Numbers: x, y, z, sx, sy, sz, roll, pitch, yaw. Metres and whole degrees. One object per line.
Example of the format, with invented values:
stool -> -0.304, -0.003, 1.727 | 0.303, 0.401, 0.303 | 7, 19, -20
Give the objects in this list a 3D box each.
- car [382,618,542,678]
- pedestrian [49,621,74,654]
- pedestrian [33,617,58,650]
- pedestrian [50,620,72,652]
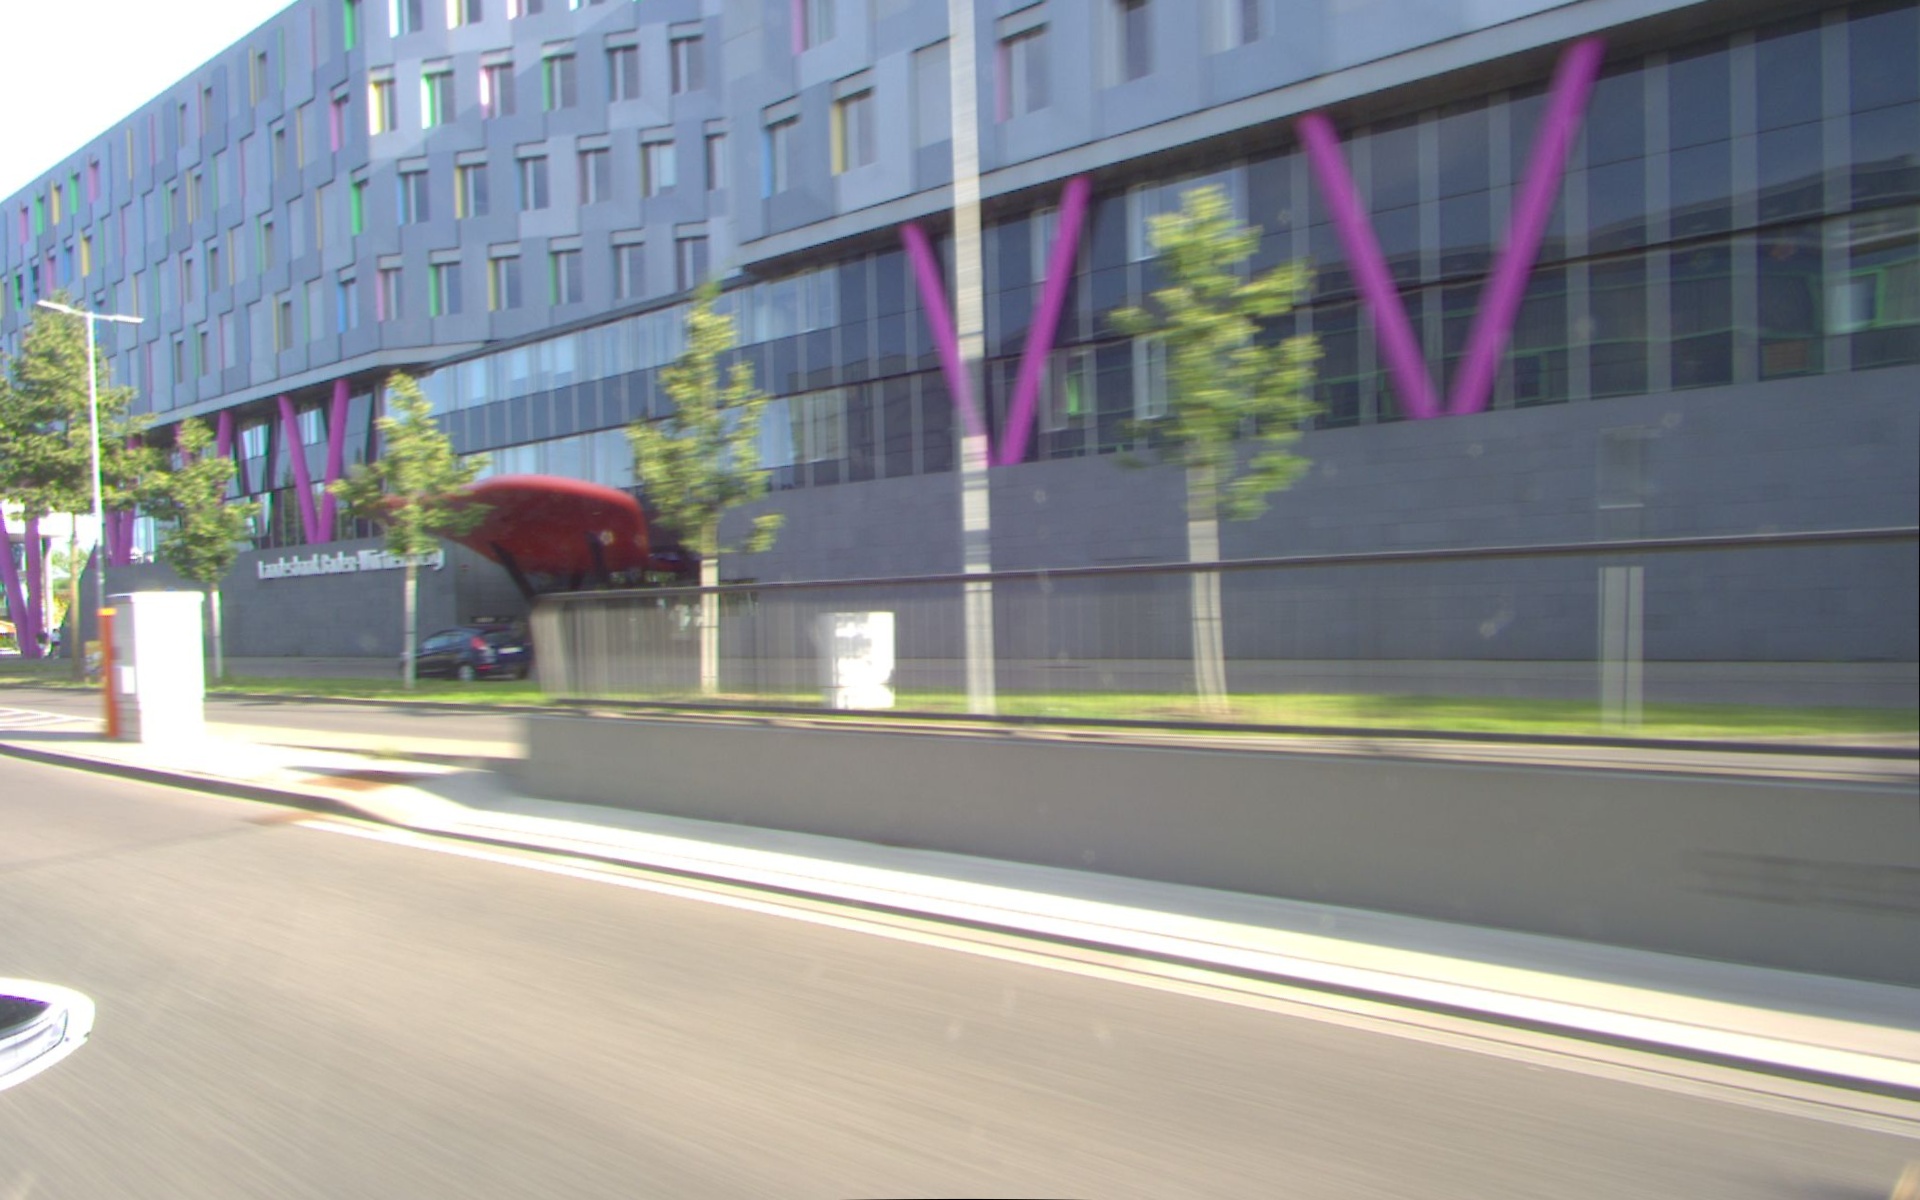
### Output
car -> -12.814, 1.200, 25.737 | 4.136, 1.408, 1.689 | -1, 0, 30
pedestrian -> -51.877, 2.144, 57.789 | 0.840, 1.850, 0.766 | -1, 2, 31
pedestrian -> -52.207, 1.921, 57.168 | 0.831, 1.818, 0.752 | -1, 2, 31
pedestrian -> -51.910, 2.060, 57.825 | 0.775, 1.818, 0.655 | -1, 3, 31
